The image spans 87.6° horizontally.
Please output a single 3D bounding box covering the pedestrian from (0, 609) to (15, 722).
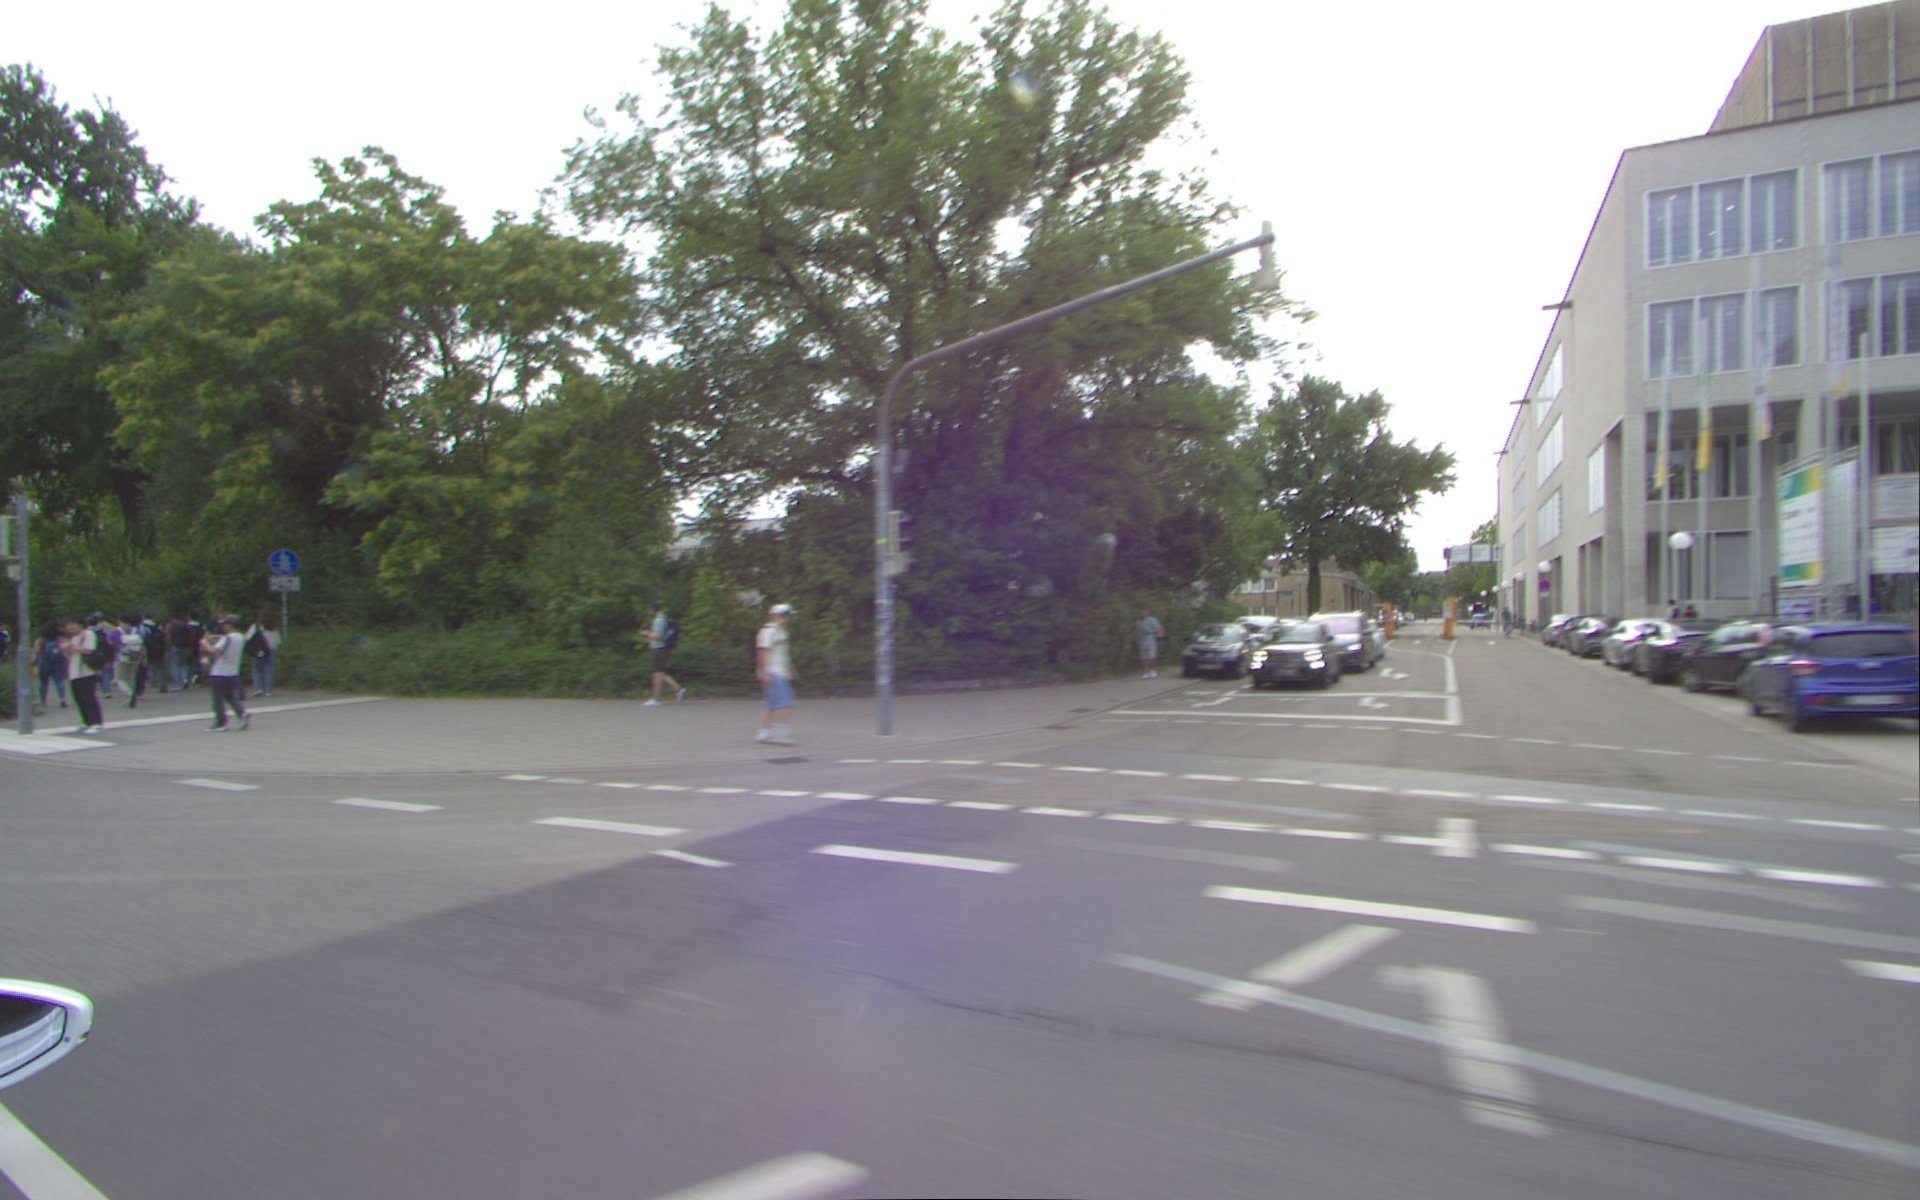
[{"bbox_3d":[-15.311,1.018,15.660,0.644,1.757,0.601,0,-1,28],"label":"pedestrian"}]

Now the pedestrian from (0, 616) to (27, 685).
[{"bbox_3d":[-22.925,1.188,23.898,0.800,1.623,0.774,0,0,30],"label":"pedestrian"}]

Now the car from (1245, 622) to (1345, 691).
[{"bbox_3d":[7.835,1.273,23.266,1.658,1.460,3.570,-2,-2,27],"label":"car"}]

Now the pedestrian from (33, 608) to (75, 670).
[{"bbox_3d":[-24.072,1.027,26.600,0.774,1.604,0.634,0,0,30],"label":"pedestrian"}]

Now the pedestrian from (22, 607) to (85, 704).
[{"bbox_3d":[-16.963,1.030,18.744,0.768,1.768,0.656,0,0,28],"label":"pedestrian"}]

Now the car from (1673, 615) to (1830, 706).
[{"bbox_3d":[15.310,1.128,19.568,1.648,1.587,3.683,-1,-2,26],"label":"car"}]

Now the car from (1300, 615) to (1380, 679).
[{"bbox_3d":[11.091,1.320,29.075,1.658,1.714,4.280,-1,-2,27],"label":"car"}]

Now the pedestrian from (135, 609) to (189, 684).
[{"bbox_3d":[-18.483,1.063,23.203,0.956,1.688,0.656,0,0,28],"label":"pedestrian"}]

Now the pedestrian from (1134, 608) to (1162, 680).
[{"bbox_3d":[4.990,1.160,26.539,0.718,1.875,0.801,0,-1,11],"label":"pedestrian"}]

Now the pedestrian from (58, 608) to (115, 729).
[{"bbox_3d":[-13.008,0.999,14.912,0.627,1.757,0.454,0,-1,28],"label":"pedestrian"}]

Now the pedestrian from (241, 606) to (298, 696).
[{"bbox_3d":[-13.853,1.011,20.094,0.768,1.768,0.656,0,0,28],"label":"pedestrian"}]

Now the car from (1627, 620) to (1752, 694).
[{"bbox_3d":[17.217,1.299,23.836,1.648,1.587,4.438,-1,-2,26],"label":"car"}]

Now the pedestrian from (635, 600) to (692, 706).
[{"bbox_3d":[-5.228,0.927,17.670,0.729,1.818,0.644,0,-1,28],"label":"pedestrian"}]

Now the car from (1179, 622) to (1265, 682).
[{"bbox_3d":[7.459,1.412,28.272,1.522,1.498,4.094,3,0,26],"label":"car"}]

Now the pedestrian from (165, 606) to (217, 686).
[{"bbox_3d":[-16.916,1.003,22.033,0.768,1.721,0.656,0,0,28],"label":"pedestrian"}]

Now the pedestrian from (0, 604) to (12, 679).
[{"bbox_3d":[-24.097,1.030,24.848,0.800,1.845,0.655,0,0,30],"label":"pedestrian"}]

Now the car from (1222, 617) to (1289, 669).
[{"bbox_3d":[10.098,1.424,34.031,1.544,1.625,3.886,1,-1,26],"label":"car"}]

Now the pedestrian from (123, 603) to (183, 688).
[{"bbox_3d":[-17.289,0.962,21.460,0.943,1.790,0.656,0,1,28],"label":"pedestrian"}]

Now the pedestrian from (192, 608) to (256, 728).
[{"bbox_3d":[-10.848,0.986,14.760,0.627,1.709,0.545,0,-1,28],"label":"pedestrian"}]

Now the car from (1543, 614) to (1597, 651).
[{"bbox_3d":[27.531,1.488,45.308,1.726,1.587,3.976,-1,-2,26],"label":"car"}]

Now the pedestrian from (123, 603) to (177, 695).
[{"bbox_3d":[-15.899,0.957,19.655,0.777,1.768,0.580,0,0,28],"label":"pedestrian"}]

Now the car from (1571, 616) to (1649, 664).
[{"bbox_3d":[22.658,1.379,35.052,1.786,1.587,4.214,-2,-2,26],"label":"car"}]

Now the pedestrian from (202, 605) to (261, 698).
[{"bbox_3d":[-14.119,0.980,19.401,0.768,1.768,0.656,0,0,28],"label":"pedestrian"}]

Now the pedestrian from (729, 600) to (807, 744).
[{"bbox_3d":[-2.561,0.950,13.415,0.814,1.876,0.646,0,-2,16],"label":"pedestrian"}]

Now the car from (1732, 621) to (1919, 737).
[{"bbox_3d":[12.948,1.092,14.867,1.648,1.510,3.571,-1,-2,26],"label":"car"}]

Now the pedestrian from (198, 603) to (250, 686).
[{"bbox_3d":[-15.943,0.948,21.694,0.768,1.768,0.656,0,0,28],"label":"pedestrian"}]

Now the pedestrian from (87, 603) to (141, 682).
[{"bbox_3d":[-18.937,0.939,22.418,0.829,1.711,0.656,0,0,28],"label":"pedestrian"}]

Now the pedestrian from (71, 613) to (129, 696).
[{"bbox_3d":[-17.691,1.114,20.601,0.800,1.670,0.656,0,0,28],"label":"pedestrian"}]

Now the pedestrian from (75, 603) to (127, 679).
[{"bbox_3d":[-20.329,0.966,23.696,0.800,1.767,0.720,0,0,30],"label":"pedestrian"}]

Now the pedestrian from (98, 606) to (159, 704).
[{"bbox_3d":[-15.323,0.993,18.465,0.768,1.768,0.624,0,0,28],"label":"pedestrian"}]

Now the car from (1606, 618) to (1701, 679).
[{"bbox_3d":[19.528,1.337,28.344,1.648,1.587,3.819,-1,-2,26],"label":"car"}]

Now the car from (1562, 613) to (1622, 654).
[{"bbox_3d":[25.986,1.366,41.291,1.648,1.587,3.976,-1,-2,26],"label":"car"}]

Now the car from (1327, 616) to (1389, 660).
[{"bbox_3d":[14.150,1.342,35.529,1.658,1.460,3.770,-2,-2,27],"label":"car"}]

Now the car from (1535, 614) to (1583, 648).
[{"bbox_3d":[30.144,1.562,50.492,1.726,1.587,3.976,-1,-2,26],"label":"car"}]
